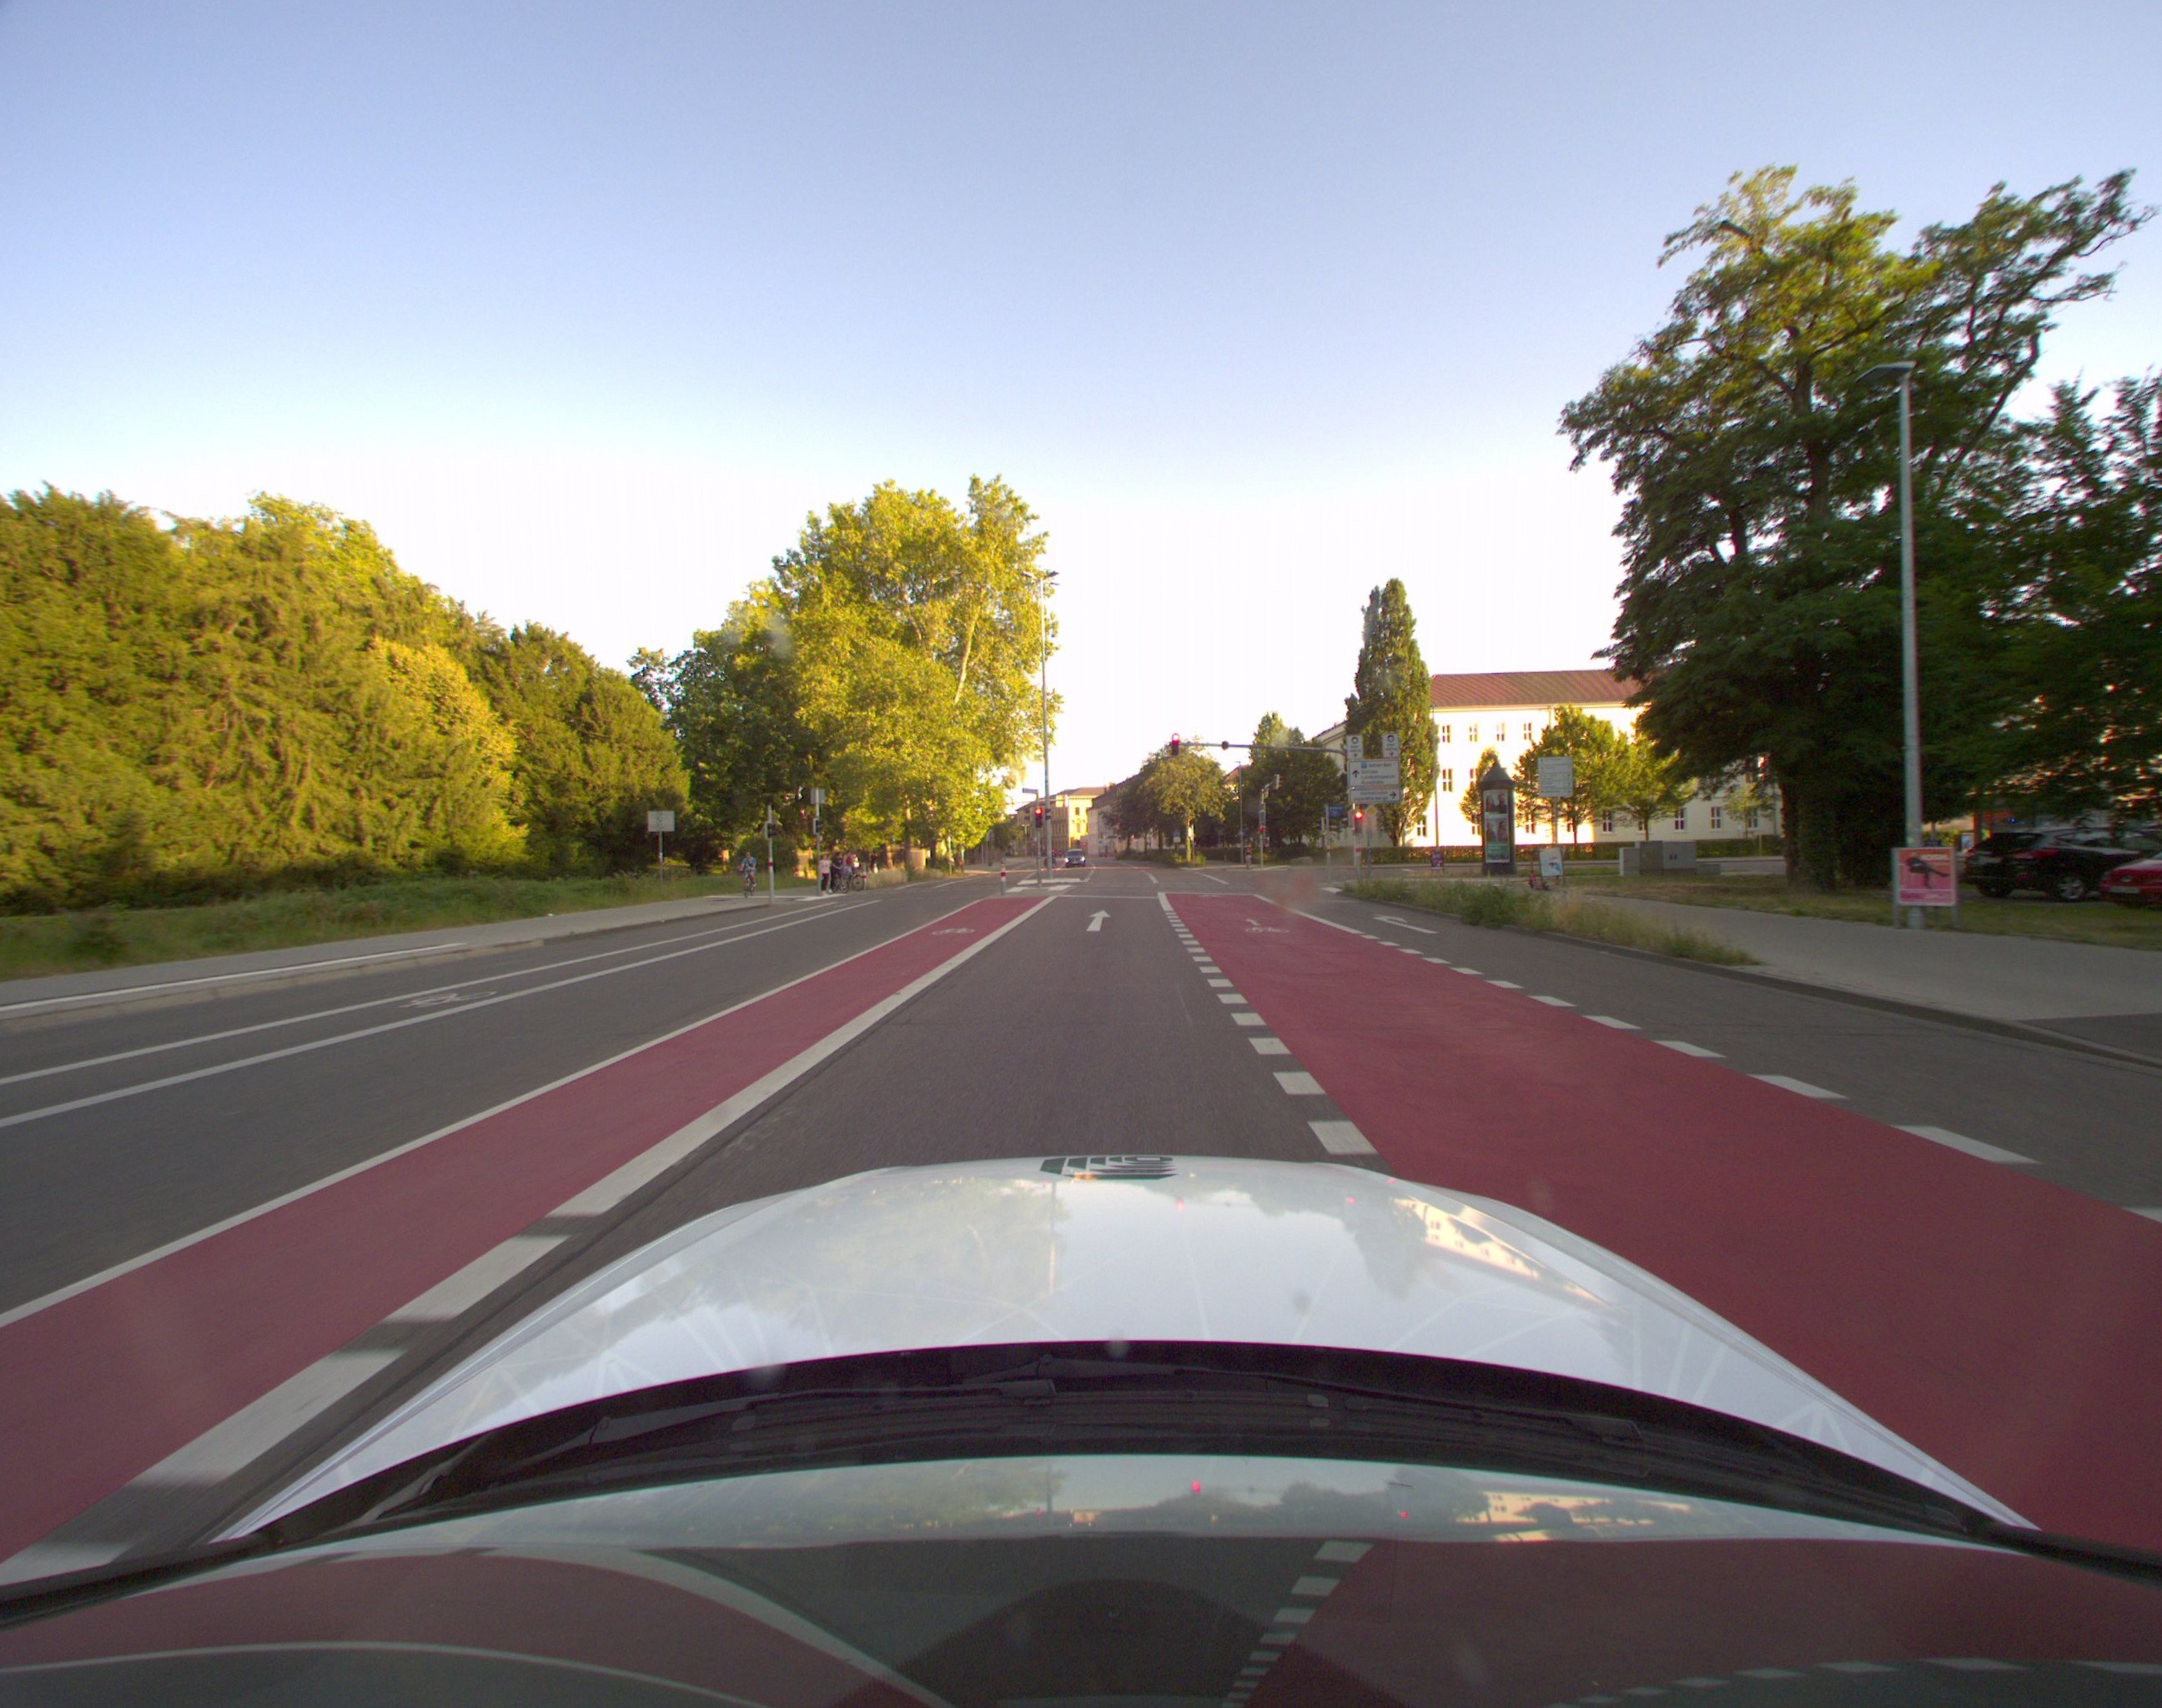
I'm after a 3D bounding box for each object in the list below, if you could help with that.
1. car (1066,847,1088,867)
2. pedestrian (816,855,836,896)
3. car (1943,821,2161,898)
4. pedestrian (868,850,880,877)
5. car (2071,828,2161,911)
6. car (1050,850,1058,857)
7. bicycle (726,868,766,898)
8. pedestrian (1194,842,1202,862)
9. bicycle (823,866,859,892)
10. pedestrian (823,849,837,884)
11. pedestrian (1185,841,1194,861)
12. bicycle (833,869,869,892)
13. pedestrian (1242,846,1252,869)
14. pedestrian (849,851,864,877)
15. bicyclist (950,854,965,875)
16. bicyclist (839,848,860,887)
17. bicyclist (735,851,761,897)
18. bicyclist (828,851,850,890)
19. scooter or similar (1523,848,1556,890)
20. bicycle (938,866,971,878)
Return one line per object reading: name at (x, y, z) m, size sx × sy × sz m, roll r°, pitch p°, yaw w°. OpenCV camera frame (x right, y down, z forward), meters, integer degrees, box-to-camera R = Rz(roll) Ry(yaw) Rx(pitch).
car at (-0.327, 0.284, 74.733) m, size 1.843 × 1.720 × 4.296 m, roll -3°, pitch 0°, yaw 1°
pedestrian at (-10.500, 0.879, 33.552) m, size 0.604 × 1.695 × 0.499 m, roll -1°, pitch 0°, yaw 4°
car at (23.026, 0.115, 18.896) m, size 3.876 × 1.694 × 1.840 m, roll 0°, pitch 0°, yaw 7°
pedestrian at (-15.799, 0.706, 62.047) m, size 0.637 × 2.013 × 0.702 m, roll -1°, pitch 0°, yaw 5°
car at (22.557, 0.238, 15.856) m, size 3.963 × 1.561 × 1.790 m, roll -1°, pitch 0°, yaw 9°
car at (-6.295, -0.085, 190.272) m, size 1.815 × 1.588 × 3.996 m, roll -2°, pitch 0°, yaw -3°
bicycle at (-13.451, 1.130, 32.759) m, size 0.768 × 1.100 × 2.120 m, roll -1°, pitch 0°, yaw -3°
pedestrian at (11.683, -0.194, 81.424) m, size 0.633 × 2.013 × 0.720 m, roll 0°, pitch 0°, yaw -1°
bicycle at (-10.525, 1.097, 35.639) m, size 1.548 × 1.111 × 0.637 m, roll -1°, pitch 0°, yaw 34°
pedestrian at (-14.693, 0.741, 47.685) m, size 0.653 × 2.013 × 0.599 m, roll 0°, pitch 0°, yaw -36°
pedestrian at (10.743, -0.311, 80.555) m, size 0.866 × 2.013 × 0.723 m, roll 0°, pitch 0°, yaw 3°
bicycle at (-10.521, 1.210, 37.286) m, size 1.749 × 1.030 × 0.583 m, roll -1°, pitch 0°, yaw 34°
pedestrian at (11.986, 0.254, 58.652) m, size 0.597 × 1.636 × 0.692 m, roll 0°, pitch 1°, yaw 2°
pedestrian at (-17.174, 0.744, 62.396) m, size 0.756 × 2.013 × 1.079 m, roll 0°, pitch 0°, yaw 6°
bicyclist at (-9.714, 0.813, 64.118) m, size 0.954 × 1.631 × 0.753 m, roll -1°, pitch 0°, yaw 3°
bicyclist at (-10.608, 0.626, 37.338) m, size 0.631 × 1.780 × 0.580 m, roll -1°, pitch 0°, yaw 33°
bicyclist at (-13.440, 0.810, 32.859) m, size 0.733 × 1.824 × 0.711 m, roll 0°, pitch 0°, yaw -2°
bicyclist at (-10.595, 0.726, 35.680) m, size 0.631 × 1.649 × 0.634 m, roll -1°, pitch 0°, yaw 33°
scooter or similar at (13.926, 0.433, 24.763) m, size 0.309 × 1.231 × 1.312 m, roll -1°, pitch 0°, yaw 3°
bicycle at (-9.952, 1.416, 64.137) m, size 2.419 × 0.924 × 0.776 m, roll -1°, pitch 0°, yaw 3°
